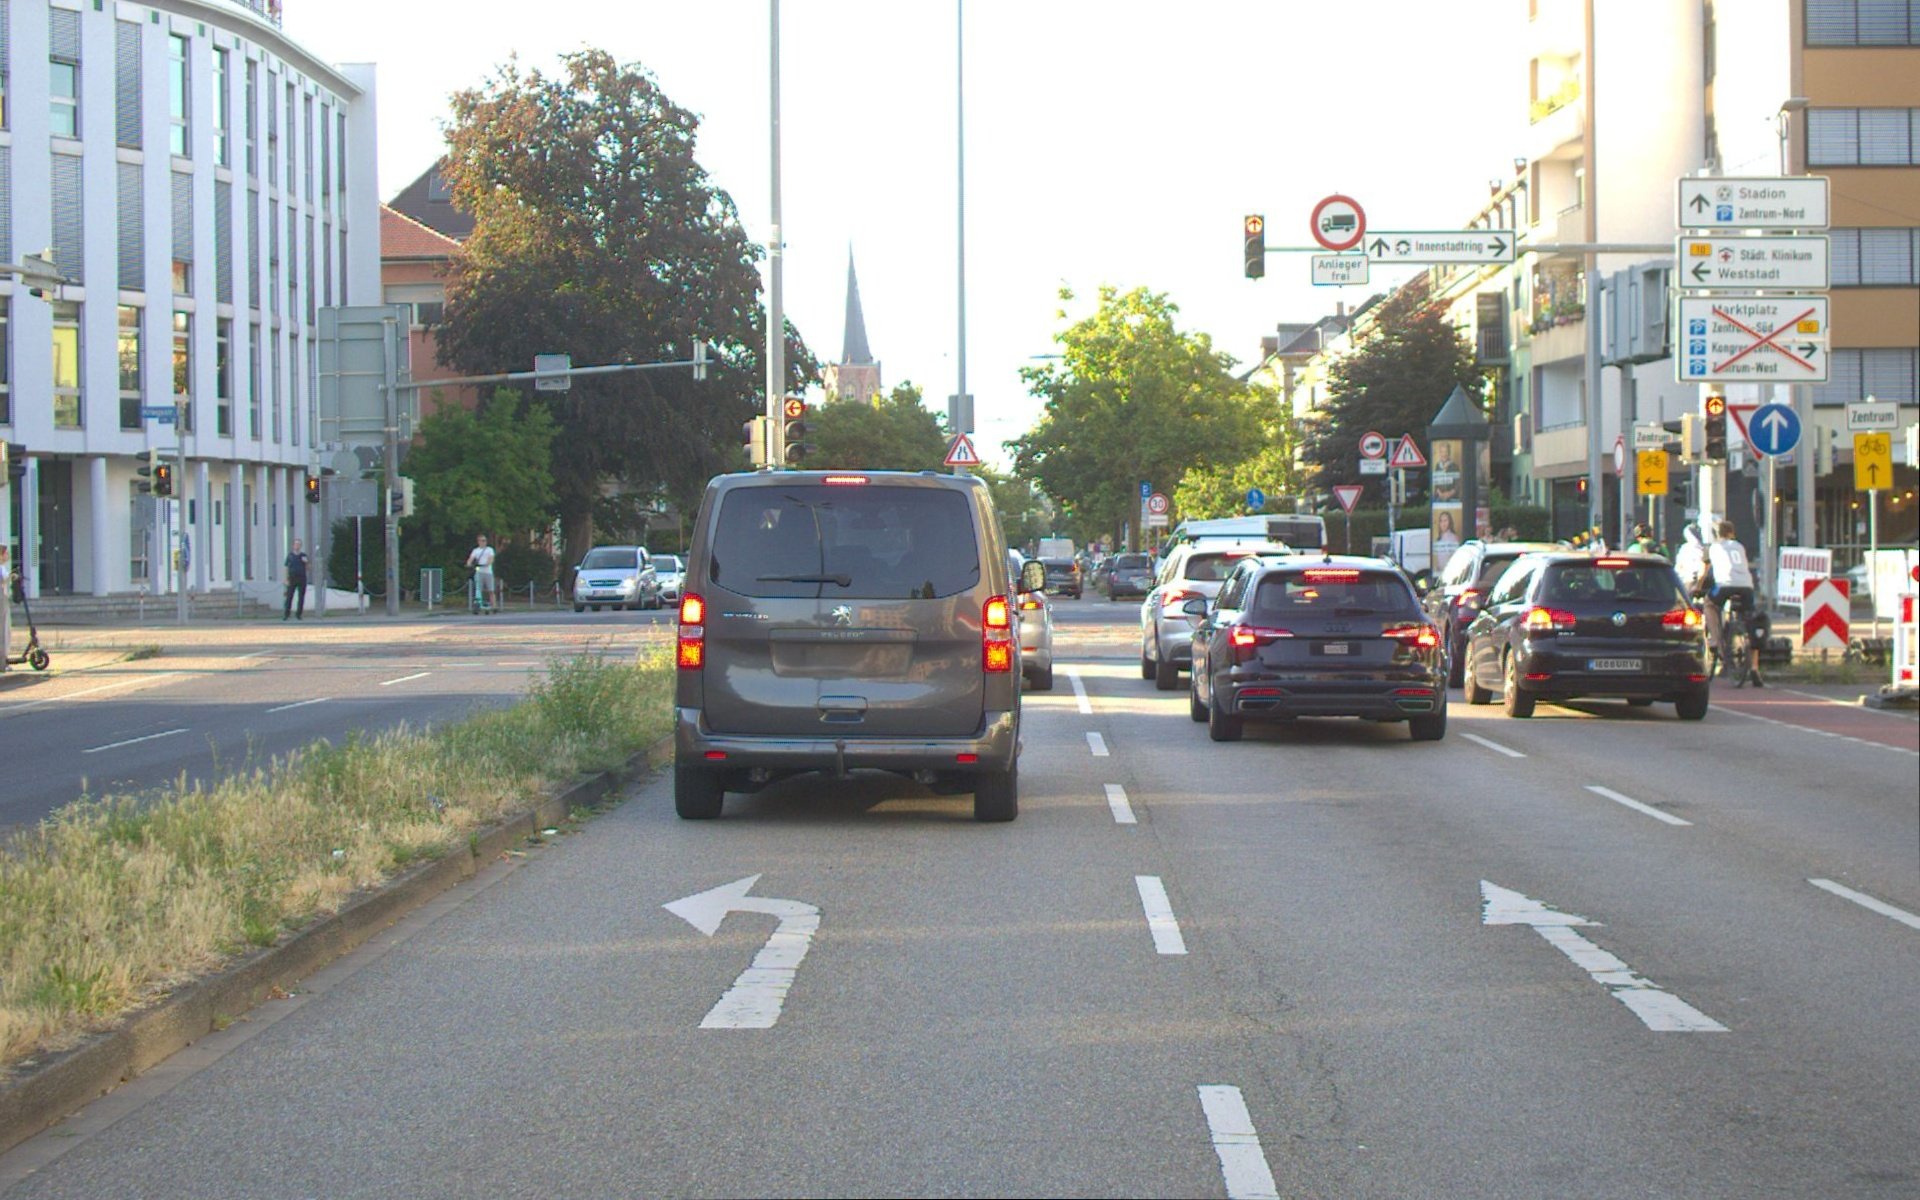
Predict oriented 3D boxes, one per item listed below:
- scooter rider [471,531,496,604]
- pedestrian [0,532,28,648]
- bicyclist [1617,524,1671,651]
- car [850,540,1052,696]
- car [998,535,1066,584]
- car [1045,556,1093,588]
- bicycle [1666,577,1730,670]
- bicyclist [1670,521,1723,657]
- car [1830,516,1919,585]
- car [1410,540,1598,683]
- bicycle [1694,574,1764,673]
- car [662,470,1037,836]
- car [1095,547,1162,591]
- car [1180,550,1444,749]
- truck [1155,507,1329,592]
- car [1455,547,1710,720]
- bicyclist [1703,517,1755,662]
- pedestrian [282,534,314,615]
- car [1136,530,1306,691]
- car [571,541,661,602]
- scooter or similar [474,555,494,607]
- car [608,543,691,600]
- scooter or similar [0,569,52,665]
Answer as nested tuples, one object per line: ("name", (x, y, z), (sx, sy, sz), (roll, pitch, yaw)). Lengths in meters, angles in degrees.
("scooter rider", (-11.138, -0.758, 80.341), (0.481, 1.691, 0.636), (-1, 1, 1))
("pedestrian", (-12.352, -0.130, 44.583), (0.474, 1.500, 0.335), (-1, 1, -11))
("bicyclist", (8.308, -0.156, 41.759), (0.513, 1.520, 0.725), (-1, 1, 1))
("car", (-0.073, 0.140, 36.064), (1.993, 1.525, 4.000), (0, 1, 0))
("car", (2.495, -1.408, 119.617), (1.993, 1.656, 4.001), (-1, 1, -4))
("car", (4.822, -1.254, 152.471), (1.904, 1.368, 4.000), (-1, 1, -1))
("bicycle", (8.307, 0.254, 38.747), (0.336, 1.004, 1.856), (-1, 1, 0))
("bicyclist", (8.312, -0.131, 38.823), (0.441, 1.520, 0.725), (-1, 1, 1))
("car", (20.509, -1.063, 72.163), (3.986, 1.415, 1.788), (-1, 1, -5))
("car", (5.794, 0.091, 36.906), (1.505, 1.444, 3.305), (0, 1, 0))
("bicycle", (8.179, 0.236, 36.610), (0.336, 1.004, 1.856), (-1, 1, 0))
("car", (-0.553, 0.231, 19.999), (1.907, 1.857, 4.527), (1, 1, 0))
("car", (5.475, -1.023, 112.210), (1.904, 1.368, 4.000), (-1, 1, -1))
("car", (2.726, 0.334, 27.438), (1.681, 1.416, 4.214), (1, 1, 0))
("truck", (7.171, -1.288, 87.831), (2.128, 2.079, 4.631), (-1, 1, -31))
("car", (5.592, 0.257, 31.269), (1.634, 1.444, 3.745), (1, 1, 0))
("bicyclist", (8.173, -0.114, 36.550), (0.441, 1.520, 0.482), (-1, 1, 1))
("pedestrian", (-14.102, -0.550, 73.195), (0.625, 1.716, 0.671), (-1, 1, -13))
("car", (2.734, 0.070, 36.599), (1.529, 1.608, 3.745), (1, 1, 0))
("car", (-8.405, -0.713, 84.262), (1.856, 1.415, 4.000), (-1, 1, -1))
("scooter or similar", (-11.135, -0.450, 80.400), (0.285, 1.184, 1.169), (-1, 1, 0))
("car", (-8.103, -0.764, 90.099), (1.856, 1.415, 4.000), (-1, 1, -1))
("scooter or similar", (-12.218, 0.214, 44.431), (0.893, 1.229, 0.371), (-1, 1, -10))
